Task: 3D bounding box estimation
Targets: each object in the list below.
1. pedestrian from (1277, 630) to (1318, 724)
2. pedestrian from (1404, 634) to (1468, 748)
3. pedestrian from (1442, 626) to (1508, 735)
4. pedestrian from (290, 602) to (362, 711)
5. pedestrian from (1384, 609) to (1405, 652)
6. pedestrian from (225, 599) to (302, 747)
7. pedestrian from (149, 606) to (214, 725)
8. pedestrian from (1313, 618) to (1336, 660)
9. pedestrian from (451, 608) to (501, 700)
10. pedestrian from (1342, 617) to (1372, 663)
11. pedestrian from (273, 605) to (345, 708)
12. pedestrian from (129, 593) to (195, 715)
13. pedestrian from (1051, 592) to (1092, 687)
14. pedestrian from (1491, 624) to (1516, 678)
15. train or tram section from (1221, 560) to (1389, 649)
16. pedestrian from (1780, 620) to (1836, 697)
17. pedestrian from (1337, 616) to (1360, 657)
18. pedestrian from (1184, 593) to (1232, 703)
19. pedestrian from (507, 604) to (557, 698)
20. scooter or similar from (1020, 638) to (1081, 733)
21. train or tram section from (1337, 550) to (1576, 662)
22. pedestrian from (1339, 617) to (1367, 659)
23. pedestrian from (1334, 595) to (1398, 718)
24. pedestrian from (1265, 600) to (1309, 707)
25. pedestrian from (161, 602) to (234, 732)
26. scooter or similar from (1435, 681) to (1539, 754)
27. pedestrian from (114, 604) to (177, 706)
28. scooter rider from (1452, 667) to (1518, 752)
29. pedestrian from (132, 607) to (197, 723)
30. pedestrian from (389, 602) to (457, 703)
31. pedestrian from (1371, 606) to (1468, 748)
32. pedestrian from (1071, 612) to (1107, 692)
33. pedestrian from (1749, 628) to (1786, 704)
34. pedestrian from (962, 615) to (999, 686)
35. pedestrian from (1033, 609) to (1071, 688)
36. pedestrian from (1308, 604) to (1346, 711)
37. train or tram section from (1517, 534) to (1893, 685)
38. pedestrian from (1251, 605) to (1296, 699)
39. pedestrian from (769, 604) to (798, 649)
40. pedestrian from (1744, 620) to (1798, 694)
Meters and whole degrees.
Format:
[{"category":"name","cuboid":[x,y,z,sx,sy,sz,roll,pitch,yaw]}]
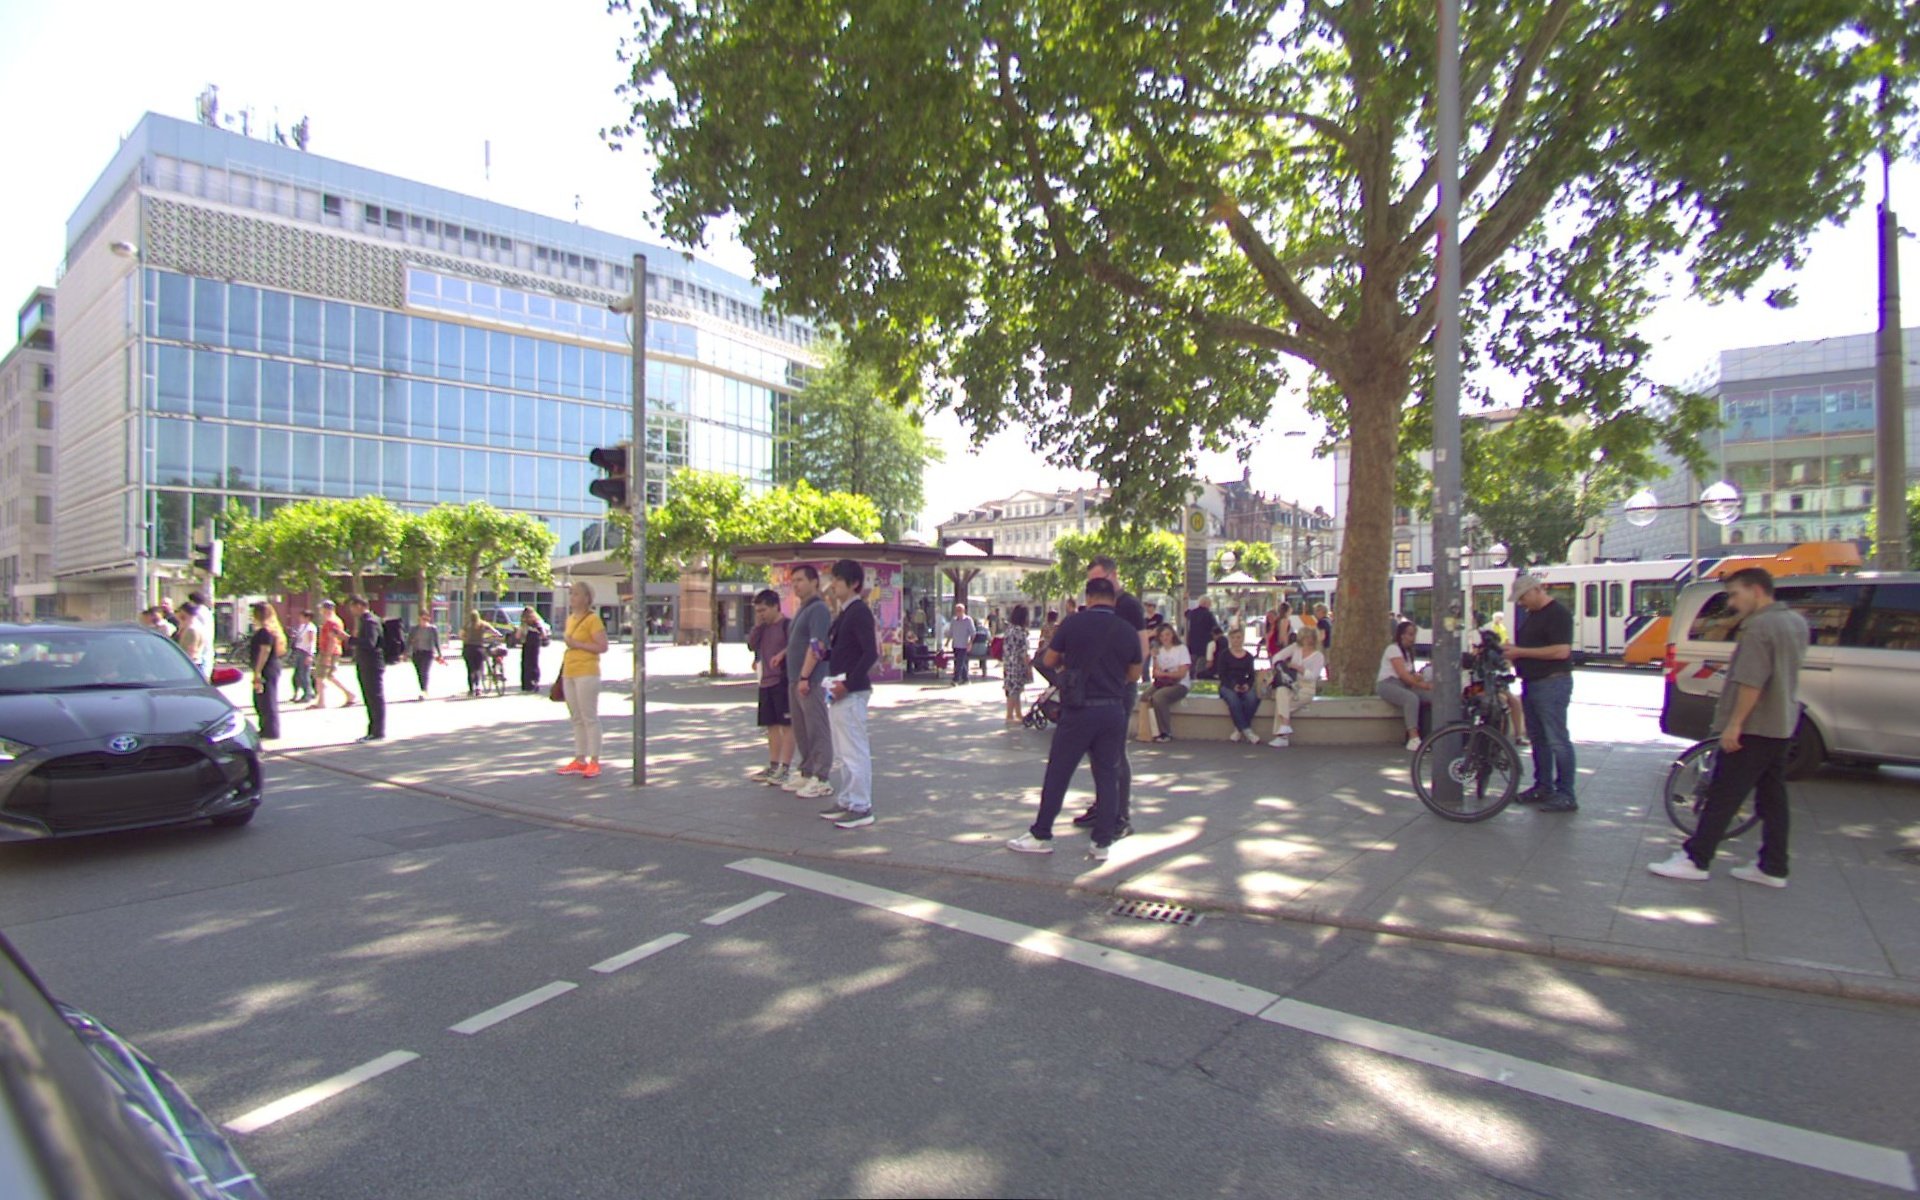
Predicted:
[{"category":"pedestrian","cuboid":[5.034,1.138,15.099,0.490,1.347,0.431,-1,0,30]},{"category":"pedestrian","cuboid":[5.150,0.971,10.960,0.499,1.182,0.350,-1,0,-17]},{"category":"pedestrian","cuboid":[6.018,0.929,11.836,0.493,1.215,0.461,-1,0,-17]},{"category":"pedestrian","cuboid":[-10.651,0.930,17.014,0.730,1.760,0.744,-1,0,30]},{"category":"pedestrian","cuboid":[15.275,1.061,35.560,0.547,1.483,0.456,-2,1,-43]},{"category":"pedestrian","cuboid":[-8.462,0.859,12.300,0.651,1.726,0.568,-1,0,38]},{"category":"pedestrian","cuboid":[-11.948,0.989,15.538,0.605,1.760,0.631,-1,0,38]},{"category":"pedestrian","cuboid":[13.244,1.399,36.772,0.555,1.483,0.748,-1,1,39]},{"category":"pedestrian","cuboid":[-9.250,1.009,19.324,0.721,1.682,0.641,-2,0,-37]},{"category":"pedestrian","cuboid":[13.359,1.334,34.069,0.547,1.483,0.758,-2,1,-43]},{"category":"pedestrian","cuboid":[-11.670,0.987,18.158,0.732,1.760,0.866,-1,0,38]},{"category":"pedestrian","cuboid":[-13.088,0.860,16.597,0.859,1.934,0.631,-1,0,38]},{"category":"pedestrian","cuboid":[2.094,0.733,18.973,0.547,1.740,0.492,-2,0,-43]},{"category":"pedestrian","cuboid":[15.369,1.442,28.599,0.547,1.483,0.456,-2,1,-43]},{"category":"train or tram section","cuboid":[16.412,0.147,49.193,2.577,3.856,9.548,-1,1,-17]},{"category":"pedestrian","cuboid":[17.645,1.216,21.069,0.669,1.561,0.580,2,-4,-20]},{"category":"pedestrian","cuboid":[14.444,1.353,37.615,0.555,1.483,0.748,-1,1,39]},{"category":"pedestrian","cuboid":[4.061,0.769,16.588,0.611,1.760,0.532,-1,0,30]},{"category":"pedestrian","cuboid":[-8.291,0.960,19.593,0.721,1.760,0.641,-2,0,-37]},{"category":"scooter or similar","cuboid":[1.144,1.074,12.871,0.559,1.128,0.540,-1,0,-23]},{"category":"train or tram section","cuboid":[19.163,0.179,40.070,2.577,3.856,9.548,-1,1,-17]},{"category":"pedestrian","cuboid":[14.231,1.368,36.624,0.547,1.483,0.758,-2,1,-43]},{"category":"pedestrian","cuboid":[6.056,0.824,15.074,0.779,1.760,0.662,-1,0,30]},{"category":"pedestrian","cuboid":[5.198,0.837,16.080,0.553,1.656,0.524,-1,0,30]},{"category":"pedestrian","cuboid":[-10.766,0.917,14.285,0.732,1.760,0.631,-1,0,38]},{"category":"scooter or similar","cuboid":[5.579,1.227,10.739,0.570,0.652,0.788,-1,1,-17]},{"category":"pedestrian","cuboid":[-14.679,0.970,18.255,0.720,1.760,0.642,-1,0,-26]},{"category":"scooter rider","cuboid":[5.550,1.148,10.702,0.499,0.845,0.350,-1,0,-17]},{"category":"pedestrian","cuboid":[-12.516,0.997,15.922,0.732,1.760,0.631,-1,0,38]},{"category":"pedestrian","cuboid":[-9.736,0.935,18.352,0.881,1.760,0.715,-1,0,30]},{"category":"pedestrian","cuboid":[5.050,0.818,11.159,0.570,1.472,0.788,-1,0,-17]},{"category":"pedestrian","cuboid":[2.529,1.003,19.825,0.484,1.537,0.456,-2,1,-43]},{"category":"pedestrian","cuboid":[13.940,1.124,17.474,0.483,1.262,0.491,-1,0,38]},{"category":"pedestrian","cuboid":[0.456,1.113,22.607,0.772,1.518,0.751,-1,0,2]},{"category":"pedestrian","cuboid":[1.785,0.931,19.723,0.449,1.483,0.556,-2,0,-42]},{"category":"pedestrian","cuboid":[5.894,0.908,16.232,0.470,1.681,0.498,-1,0,30]},{"category":"train or tram section","cuboid":[22.002,0.208,30.952,2.577,3.856,9.548,-1,1,-17]},{"category":"pedestrian","cuboid":[5.316,0.871,17.147,0.605,1.537,0.543,-1,0,30]},{"category":"pedestrian","cuboid":[-7.122,1.053,40.838,0.732,1.760,0.866,-1,0,38]},{"category":"pedestrian","cuboid":[17.401,1.220,21.712,0.669,1.561,0.580,2,-4,-16]}]
